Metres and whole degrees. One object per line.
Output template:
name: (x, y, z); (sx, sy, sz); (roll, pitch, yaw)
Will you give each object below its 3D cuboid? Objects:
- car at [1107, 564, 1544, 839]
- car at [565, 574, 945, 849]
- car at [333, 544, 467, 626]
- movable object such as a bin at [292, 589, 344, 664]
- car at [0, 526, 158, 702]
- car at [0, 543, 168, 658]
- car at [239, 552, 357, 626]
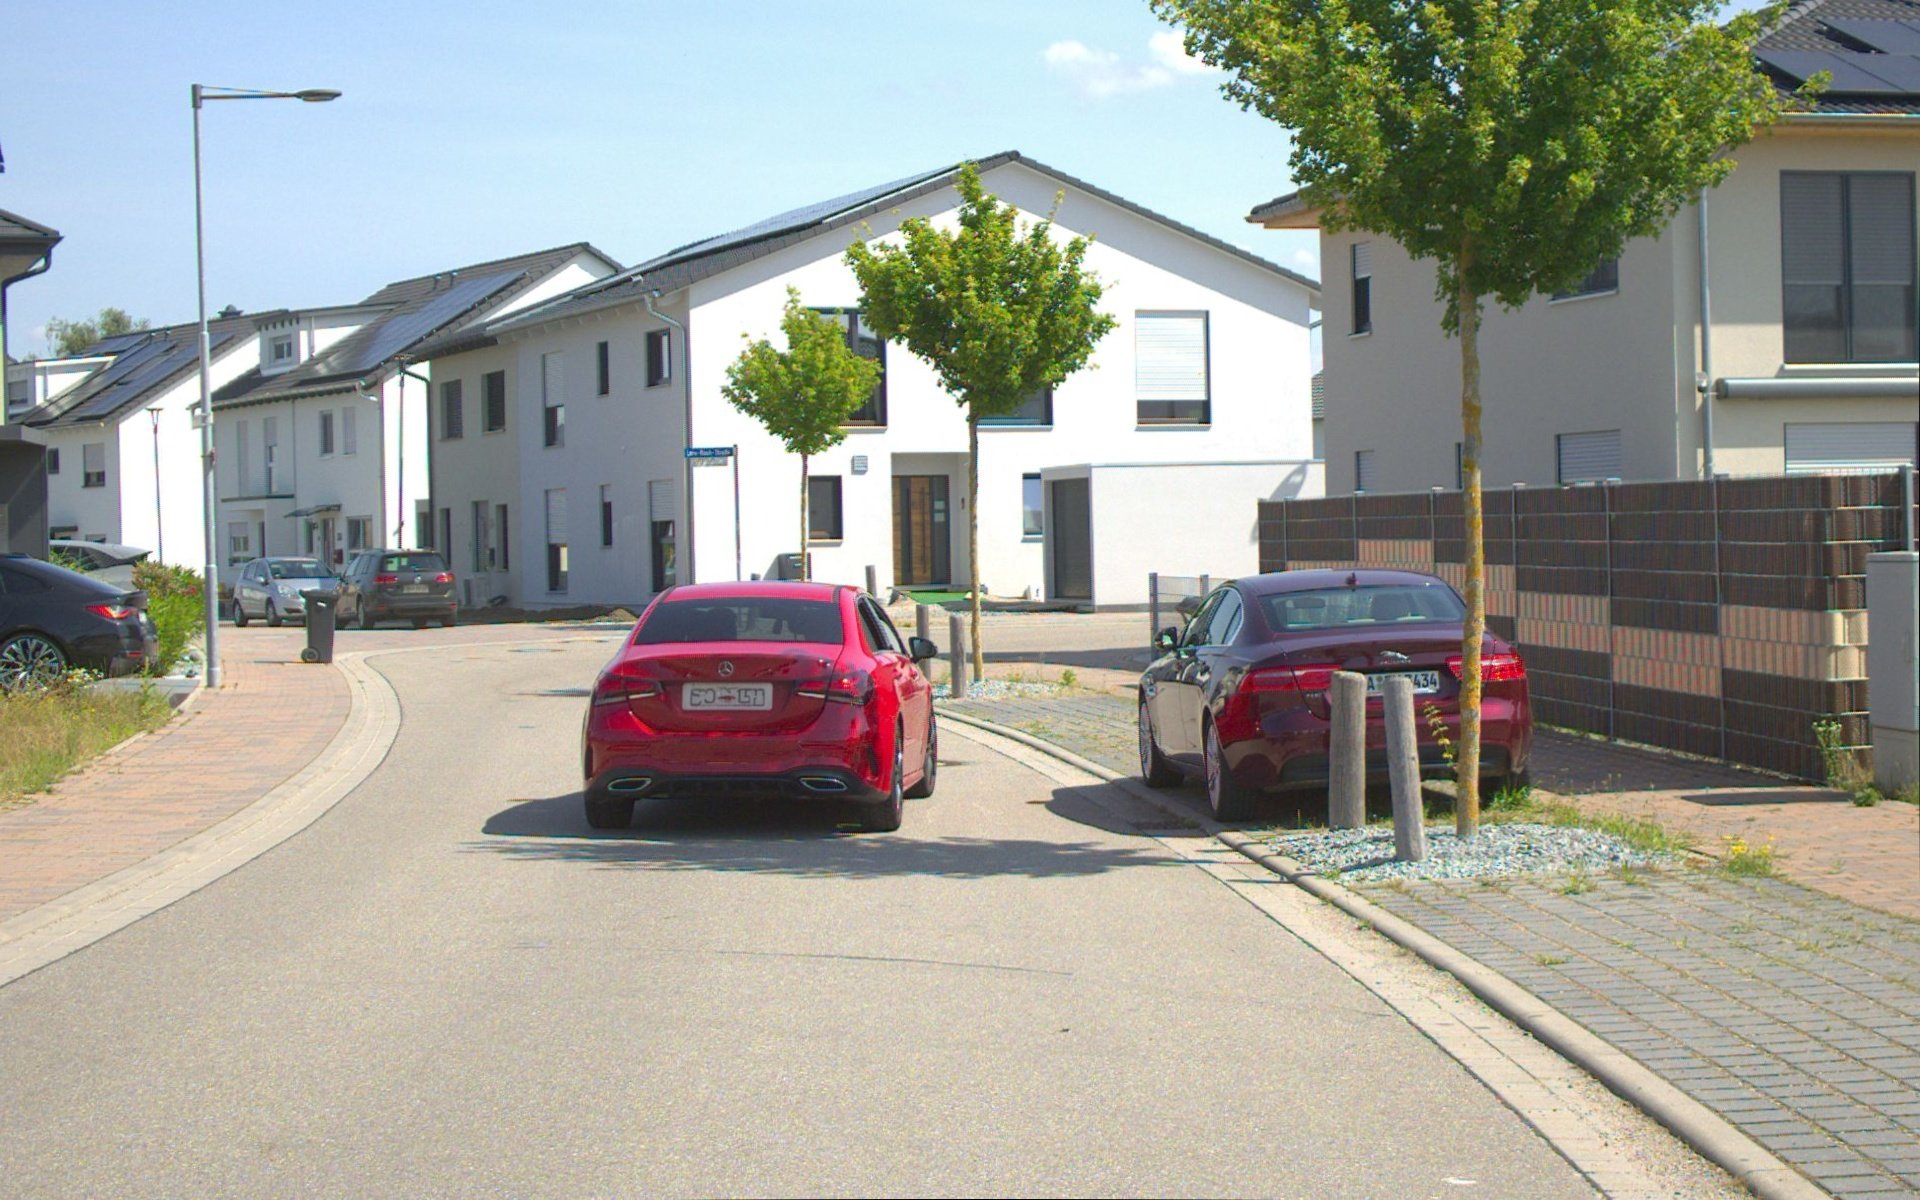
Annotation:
car: (2.116, 0.534, 21.214); (1.754, 1.358, 4.576); (-4, 1, -5)
car: (-1.120, 0.580, 20.770); (1.763, 1.433, 4.519); (0, 1, 3)
car: (-10.333, -0.285, 63.215); (1.726, 1.418, 4.001); (-2, 1, -19)
movable object such as a bin: (-8.145, 0.335, 43.624); (0.534, 0.933, 0.526); (1, 1, 1)
car: (-10.064, 0.081, 33.097); (4.374, 1.626, 1.771); (2, 0, -8)
car: (-12.749, 0.001, 45.991); (3.986, 1.481, 1.755); (-1, 1, -6)
car: (-14.009, -0.245, 72.641); (1.676, 1.459, 3.945); (-2, 1, -22)
